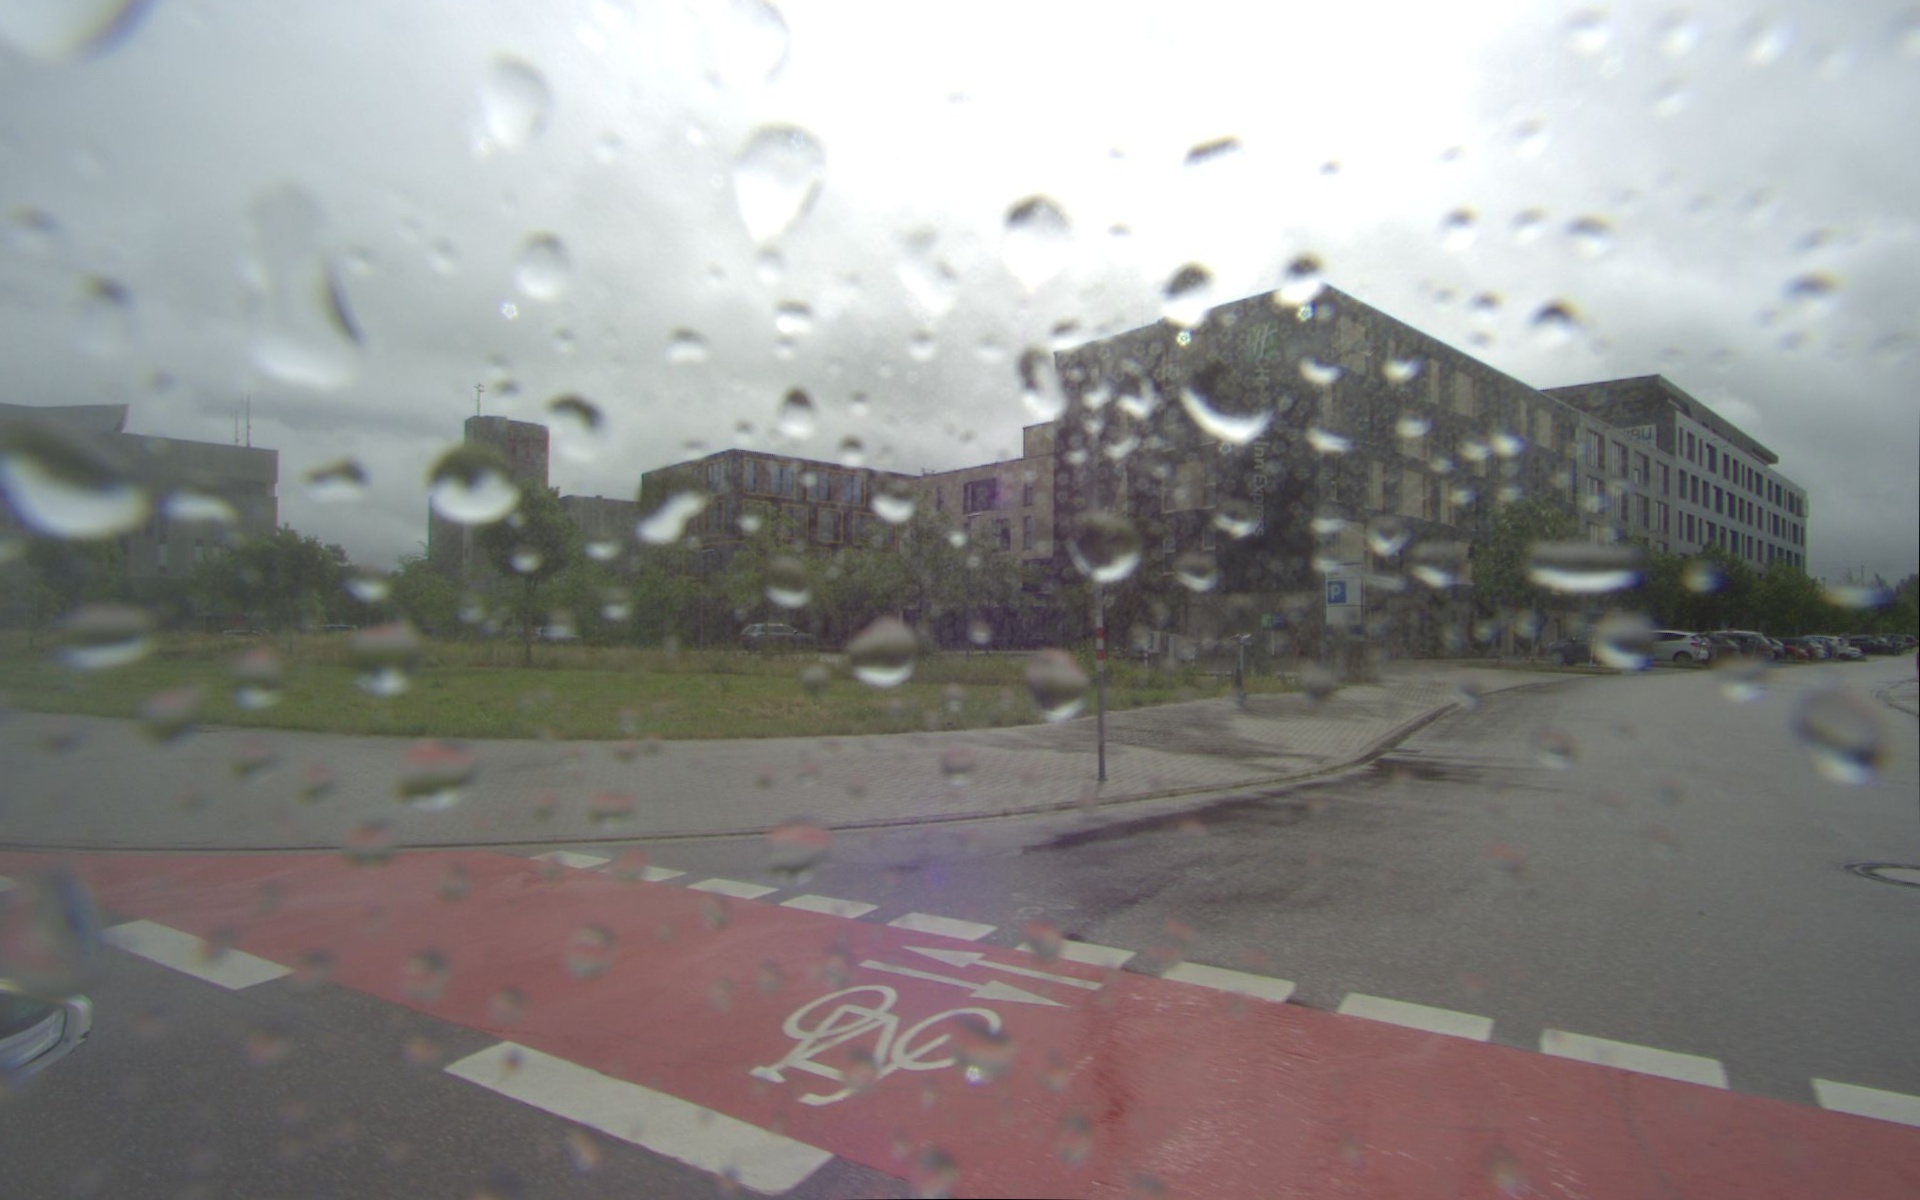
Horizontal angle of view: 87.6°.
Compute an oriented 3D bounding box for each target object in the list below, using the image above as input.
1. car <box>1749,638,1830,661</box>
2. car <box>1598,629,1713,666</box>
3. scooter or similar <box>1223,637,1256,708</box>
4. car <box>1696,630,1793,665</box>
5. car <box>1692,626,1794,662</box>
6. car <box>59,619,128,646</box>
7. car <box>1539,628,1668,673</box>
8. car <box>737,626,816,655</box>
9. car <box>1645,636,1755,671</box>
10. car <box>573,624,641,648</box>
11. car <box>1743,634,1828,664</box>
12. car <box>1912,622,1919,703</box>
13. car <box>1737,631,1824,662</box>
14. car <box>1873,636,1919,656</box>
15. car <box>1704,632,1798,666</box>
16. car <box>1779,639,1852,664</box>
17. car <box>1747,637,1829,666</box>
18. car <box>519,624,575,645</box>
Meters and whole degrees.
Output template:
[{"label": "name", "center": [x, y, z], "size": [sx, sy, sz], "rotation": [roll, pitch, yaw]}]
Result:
[{"label": "car", "center": [53.601, 3.194, 64.739], "size": [1.538, 1.312, 3.867], "rotation": [6, -5, -43]}, {"label": "car", "center": [29.807, 2.007, 42.980], "size": [1.752, 1.412, 3.772], "rotation": [6, -5, -43]}, {"label": "scooter or similar", "center": [5.115, 1.305, 18.299], "size": [0.494, 1.203, 1.282], "rotation": [2, 1, 18]}, {"label": "car", "center": [41.141, 2.473, 52.568], "size": [1.770, 1.635, 3.806], "rotation": [6, -5, -43]}, {"label": "car", "center": [39.035, 2.183, 49.986], "size": [1.770, 1.635, 3.806], "rotation": [6, -5, -43]}, {"label": "car", "center": [-66.293, 2.489, 76.706], "size": [3.659, 2.039, 1.989], "rotation": [1, -2, -32]}, {"label": "car", "center": [24.394, 1.907, 38.056], "size": [1.770, 1.546, 3.806], "rotation": [6, -5, -43]}, {"label": "car", "center": [-10.540, 2.308, 57.617], "size": [4.171, 1.577, 1.653], "rotation": [1, -1, -39]}, {"label": "car", "center": [33.834, 2.434, 45.821], "size": [1.770, 1.412, 3.806], "rotation": [6, -5, -43]}, {"label": "car", "center": [-26.938, 2.732, 76.458], "size": [4.506, 1.784, 1.984], "rotation": [2, -2, -39]}, {"label": "car", "center": [49.810, 2.936, 60.477], "size": [1.535, 1.635, 3.806], "rotation": [6, -5, -43]}, {"label": "car", "center": [21.448, 1.274, 21.071], "size": [1.980, 1.637, 3.965], "rotation": [-4, -5, 44]}, {"label": "car", "center": [48.088, 2.724, 58.722], "size": [1.535, 1.635, 3.806], "rotation": [6, -5, -43]}, {"label": "car", "center": [86.532, 4.203, 91.559], "size": [1.781, 1.708, 4.334], "rotation": [6, -5, -39]}, {"label": "car", "center": [42.699, 2.634, 54.106], "size": [1.770, 1.635, 3.806], "rotation": [6, -5, -43]}, {"label": "car", "center": [60.979, 3.653, 71.398], "size": [1.770, 1.635, 3.806], "rotation": [6, -5, -43]}, {"label": "car", "center": [52.037, 3.226, 62.978], "size": [1.535, 1.635, 3.806], "rotation": [6, -5, -43]}, {"label": "car", "center": [-34.346, 2.896, 83.347], "size": [3.954, 1.742, 1.755], "rotation": [2, -2, -39]}]
